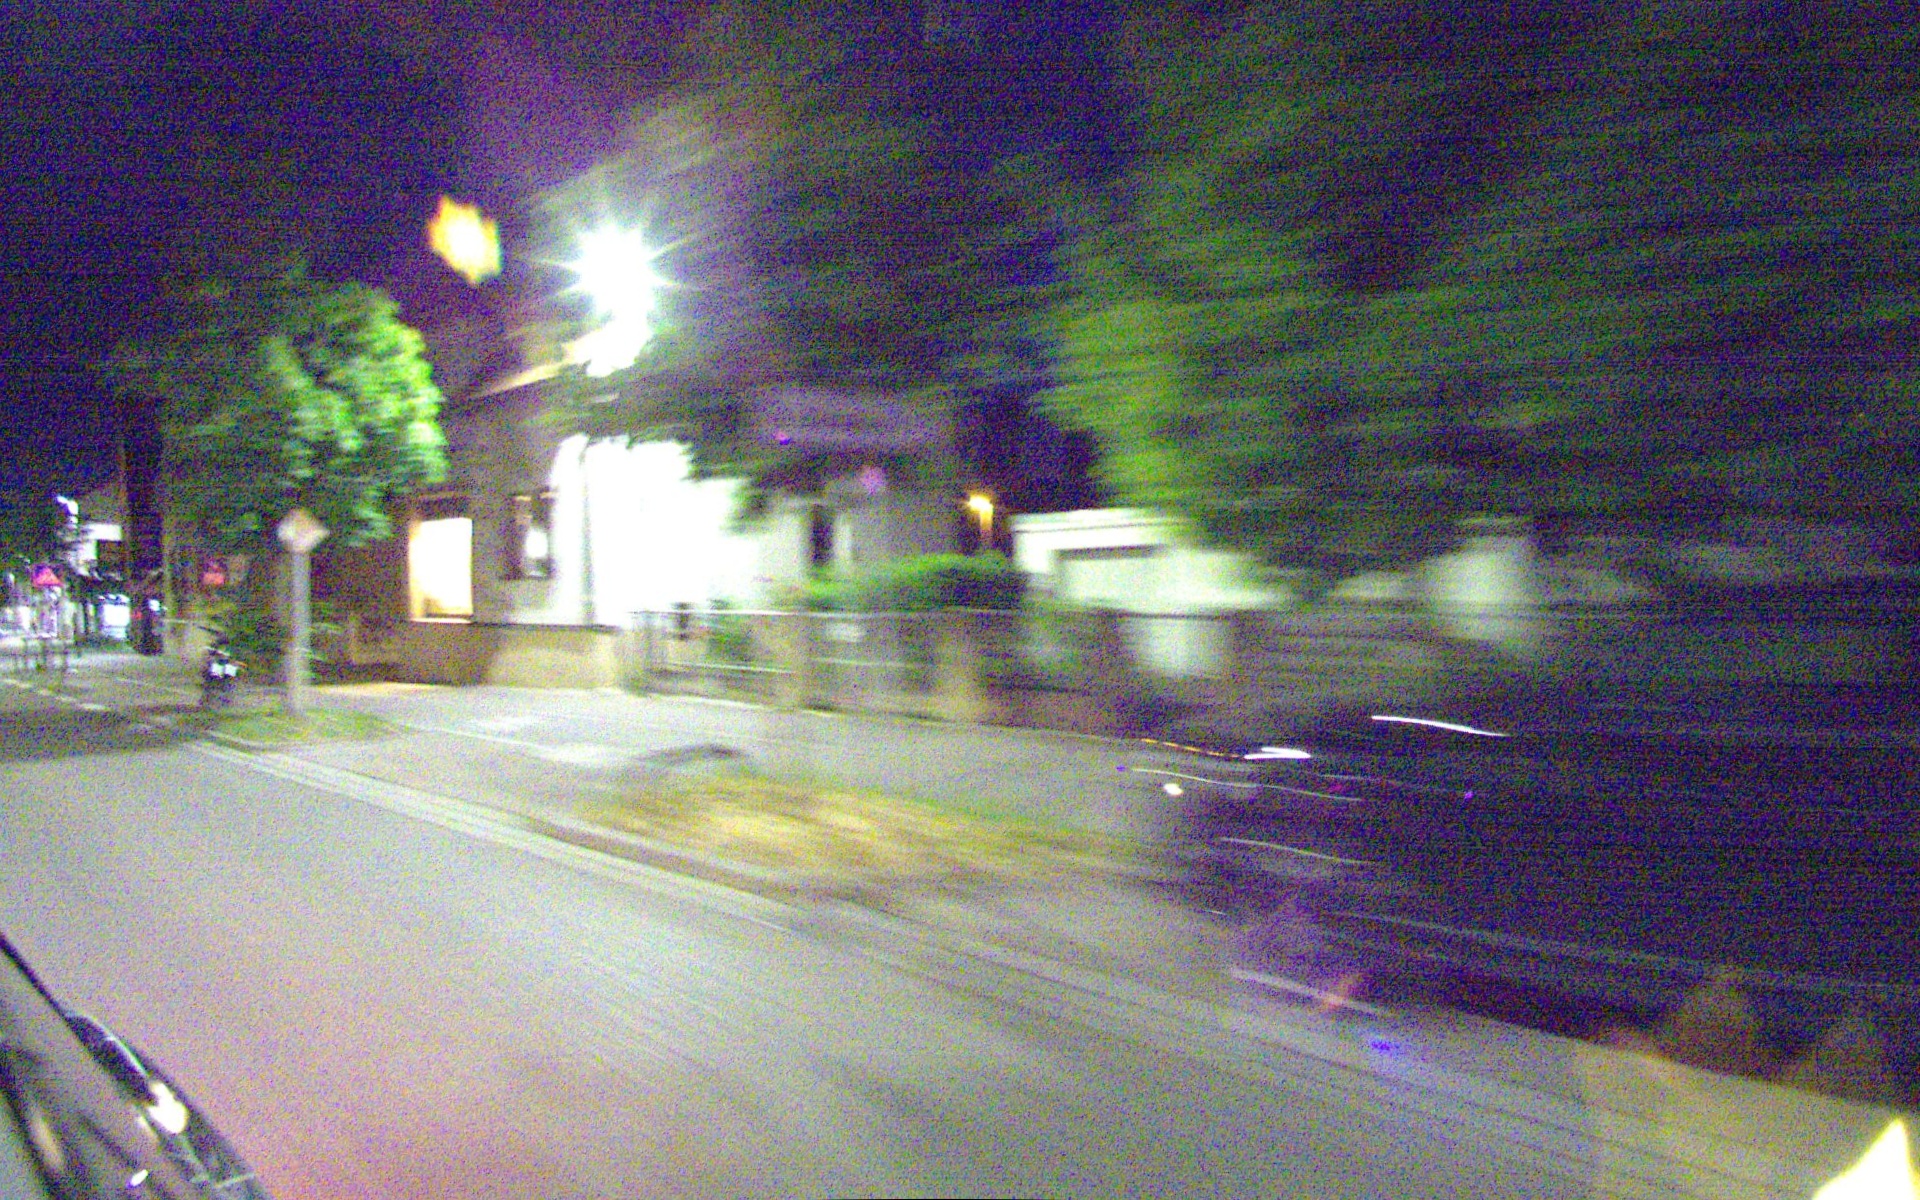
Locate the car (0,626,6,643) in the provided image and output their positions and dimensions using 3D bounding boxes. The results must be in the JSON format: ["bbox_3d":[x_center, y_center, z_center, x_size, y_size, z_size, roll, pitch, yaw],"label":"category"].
[{"bbox_3d":[-81.280,2.916,84.672,4.932,1.430,1.875,-2,0,44],"label":"car"}]

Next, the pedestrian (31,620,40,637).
[{"bbox_3d":[-91.107,2.799,99.755,0.664,1.600,0.523,-1,-1,35],"label":"pedestrian"}]

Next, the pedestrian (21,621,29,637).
[{"bbox_3d":[-91.752,2.829,99.299,0.665,1.600,0.523,-2,-1,37],"label":"pedestrian"}]

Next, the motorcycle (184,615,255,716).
[{"bbox_3d":[-11.580,0.975,15.793,0.737,1.463,2.199,0,-1,-40],"label":"motorcycle"}]

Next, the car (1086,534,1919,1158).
[{"bbox_3d":[2.665,0.603,3.296,4.277,1.522,1.670,-2,-1,42],"label":"car"}]
